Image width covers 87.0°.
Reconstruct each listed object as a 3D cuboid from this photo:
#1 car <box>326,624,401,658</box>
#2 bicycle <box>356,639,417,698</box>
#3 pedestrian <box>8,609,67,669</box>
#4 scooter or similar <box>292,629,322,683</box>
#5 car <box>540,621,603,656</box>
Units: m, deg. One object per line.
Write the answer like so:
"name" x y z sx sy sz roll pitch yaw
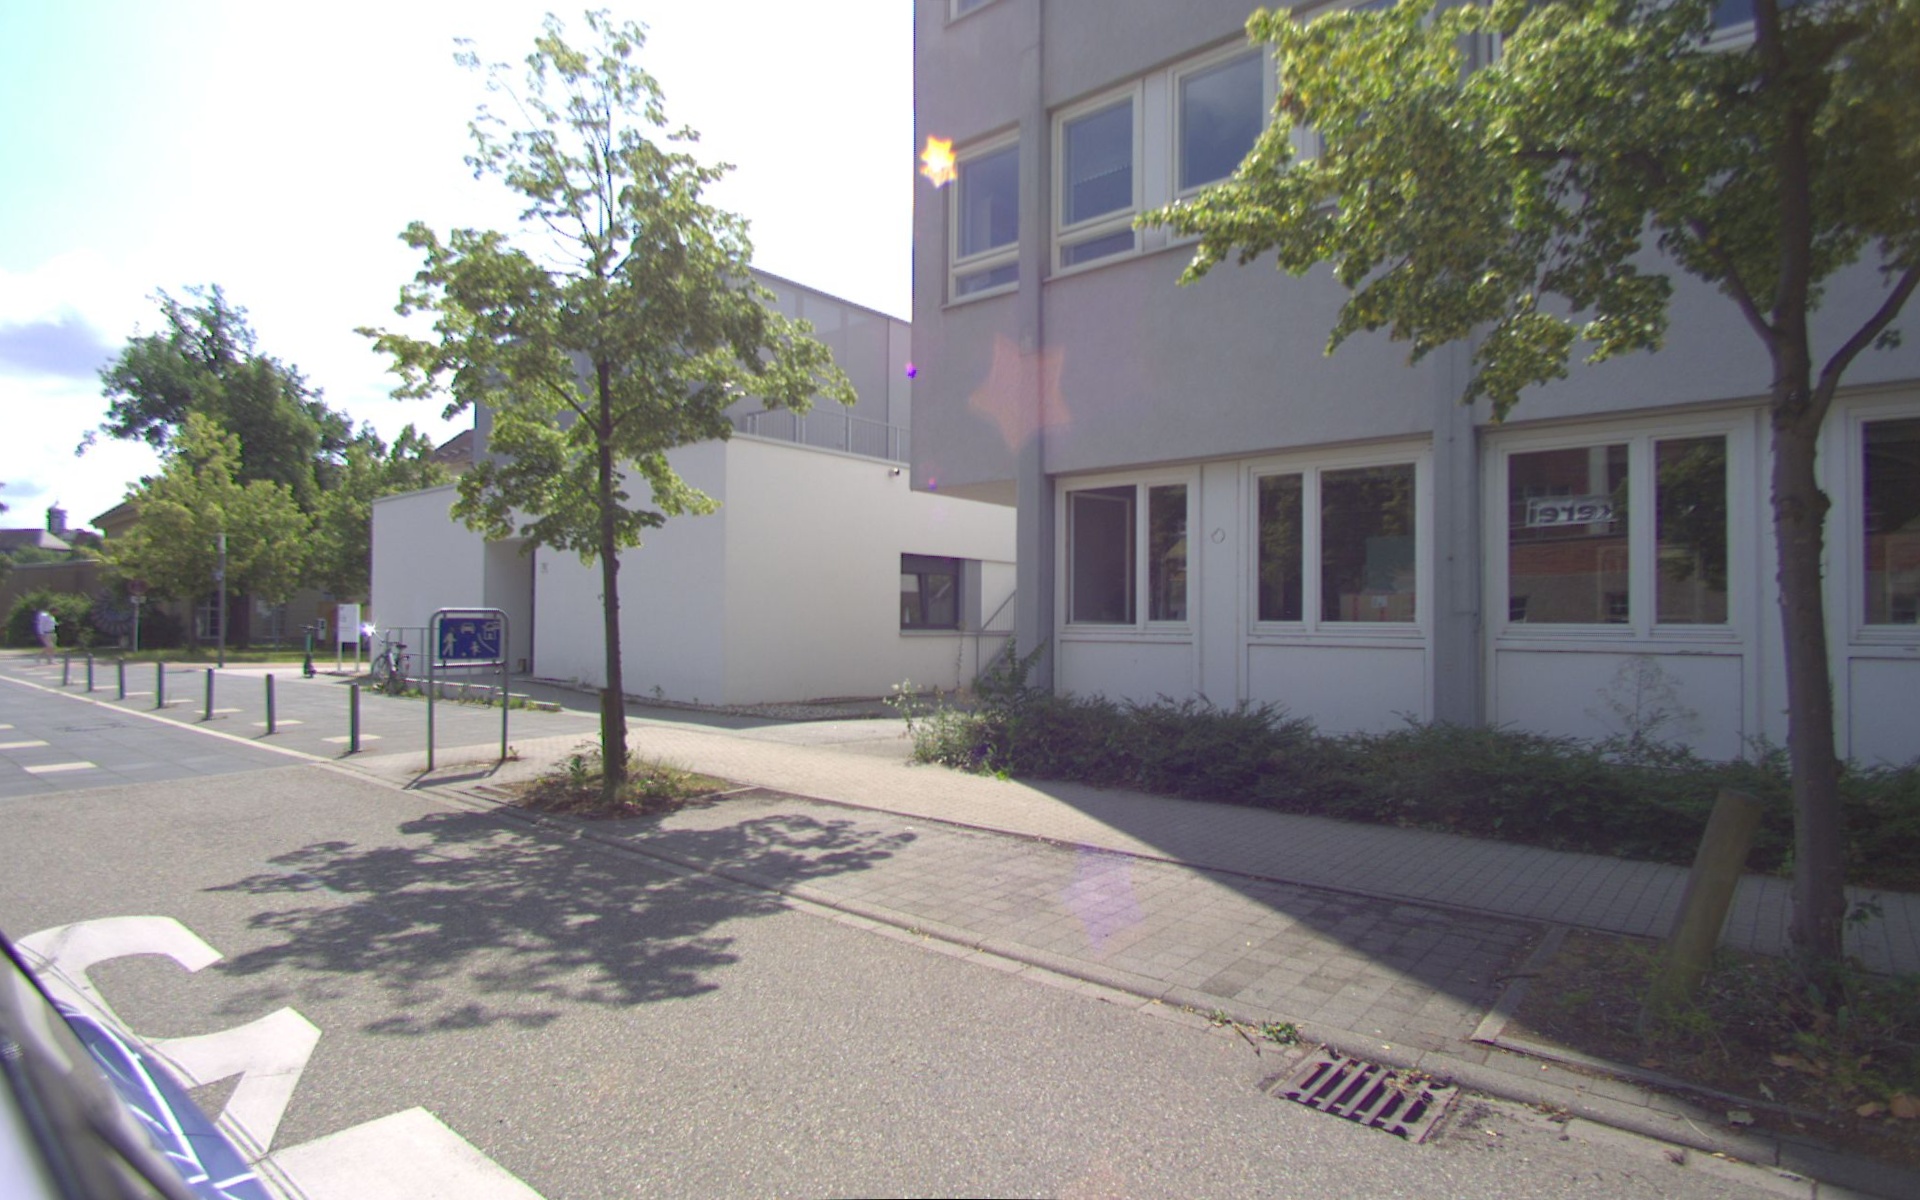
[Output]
"car" -30.875 2.112 52.331 4.646 1.593 1.875 0 -1 40
"bicycle" -11.115 1.308 19.596 0.537 1.069 1.900 2 -2 -45
"pedestrian" -29.235 1.247 32.100 1.007 1.862 0.919 2 -3 -19
"scooter or similar" -15.940 1.355 24.693 0.476 1.272 1.316 1 -2 -37
"car" -23.519 2.288 61.189 4.528 1.974 1.787 0 -2 43
